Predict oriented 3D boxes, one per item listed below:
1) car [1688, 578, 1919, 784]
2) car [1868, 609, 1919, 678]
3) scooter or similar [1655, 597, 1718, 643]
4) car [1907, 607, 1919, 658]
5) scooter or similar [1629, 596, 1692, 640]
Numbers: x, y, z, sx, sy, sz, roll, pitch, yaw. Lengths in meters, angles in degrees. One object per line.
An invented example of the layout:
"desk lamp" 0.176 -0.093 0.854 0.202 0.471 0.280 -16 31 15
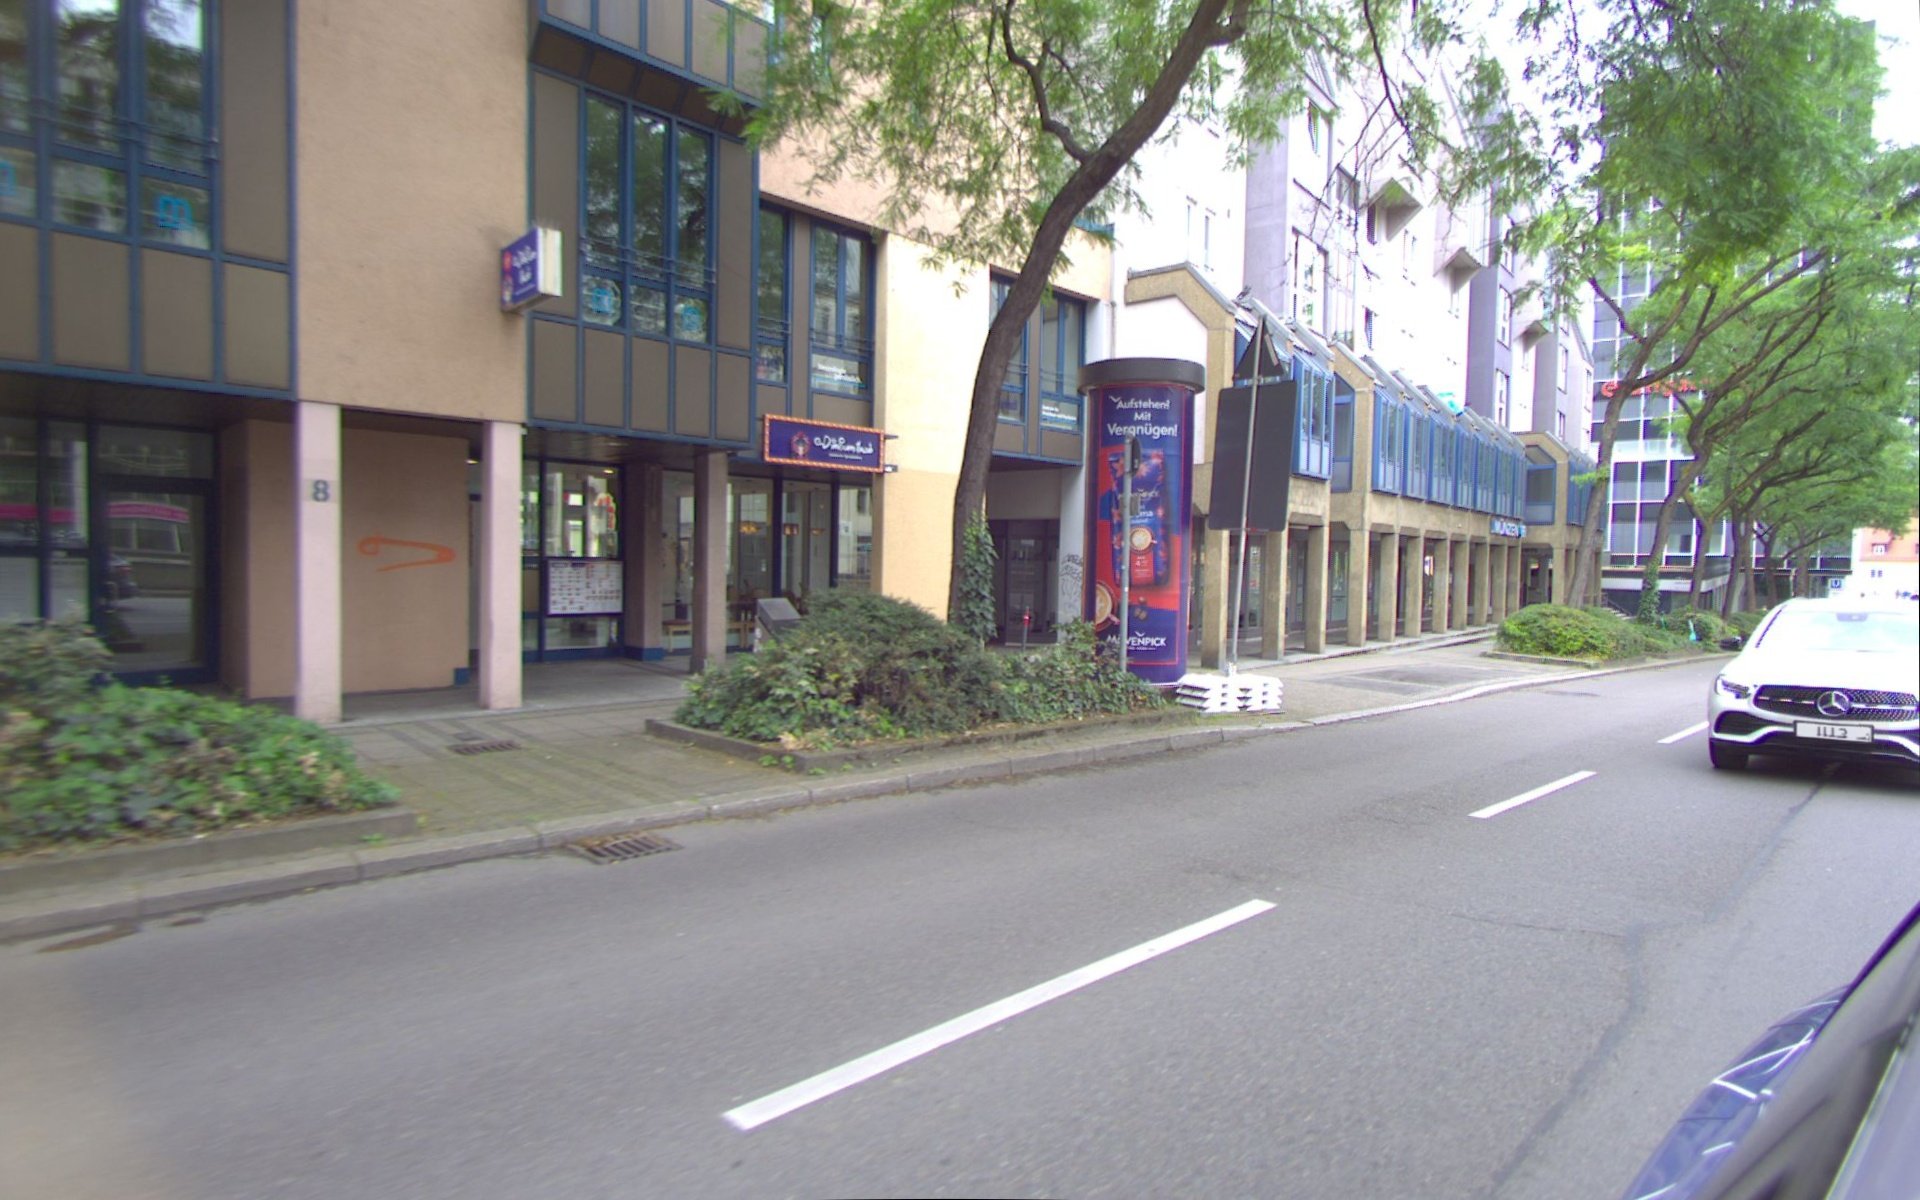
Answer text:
"car" 8.657 0.632 9.716 3.862 1.628 2.056 0 1 -44
"car" 21.841 0.931 22.683 4.534 1.404 1.886 0 1 -44
"scooter or similar" 23.669 0.638 32.995 1.512 1.452 0.685 1 0 16
"car" 32.717 1.083 33.643 3.599 1.632 1.637 0 1 -44
"scooter or similar" 23.868 0.607 34.505 1.575 1.452 0.729 1 0 16
